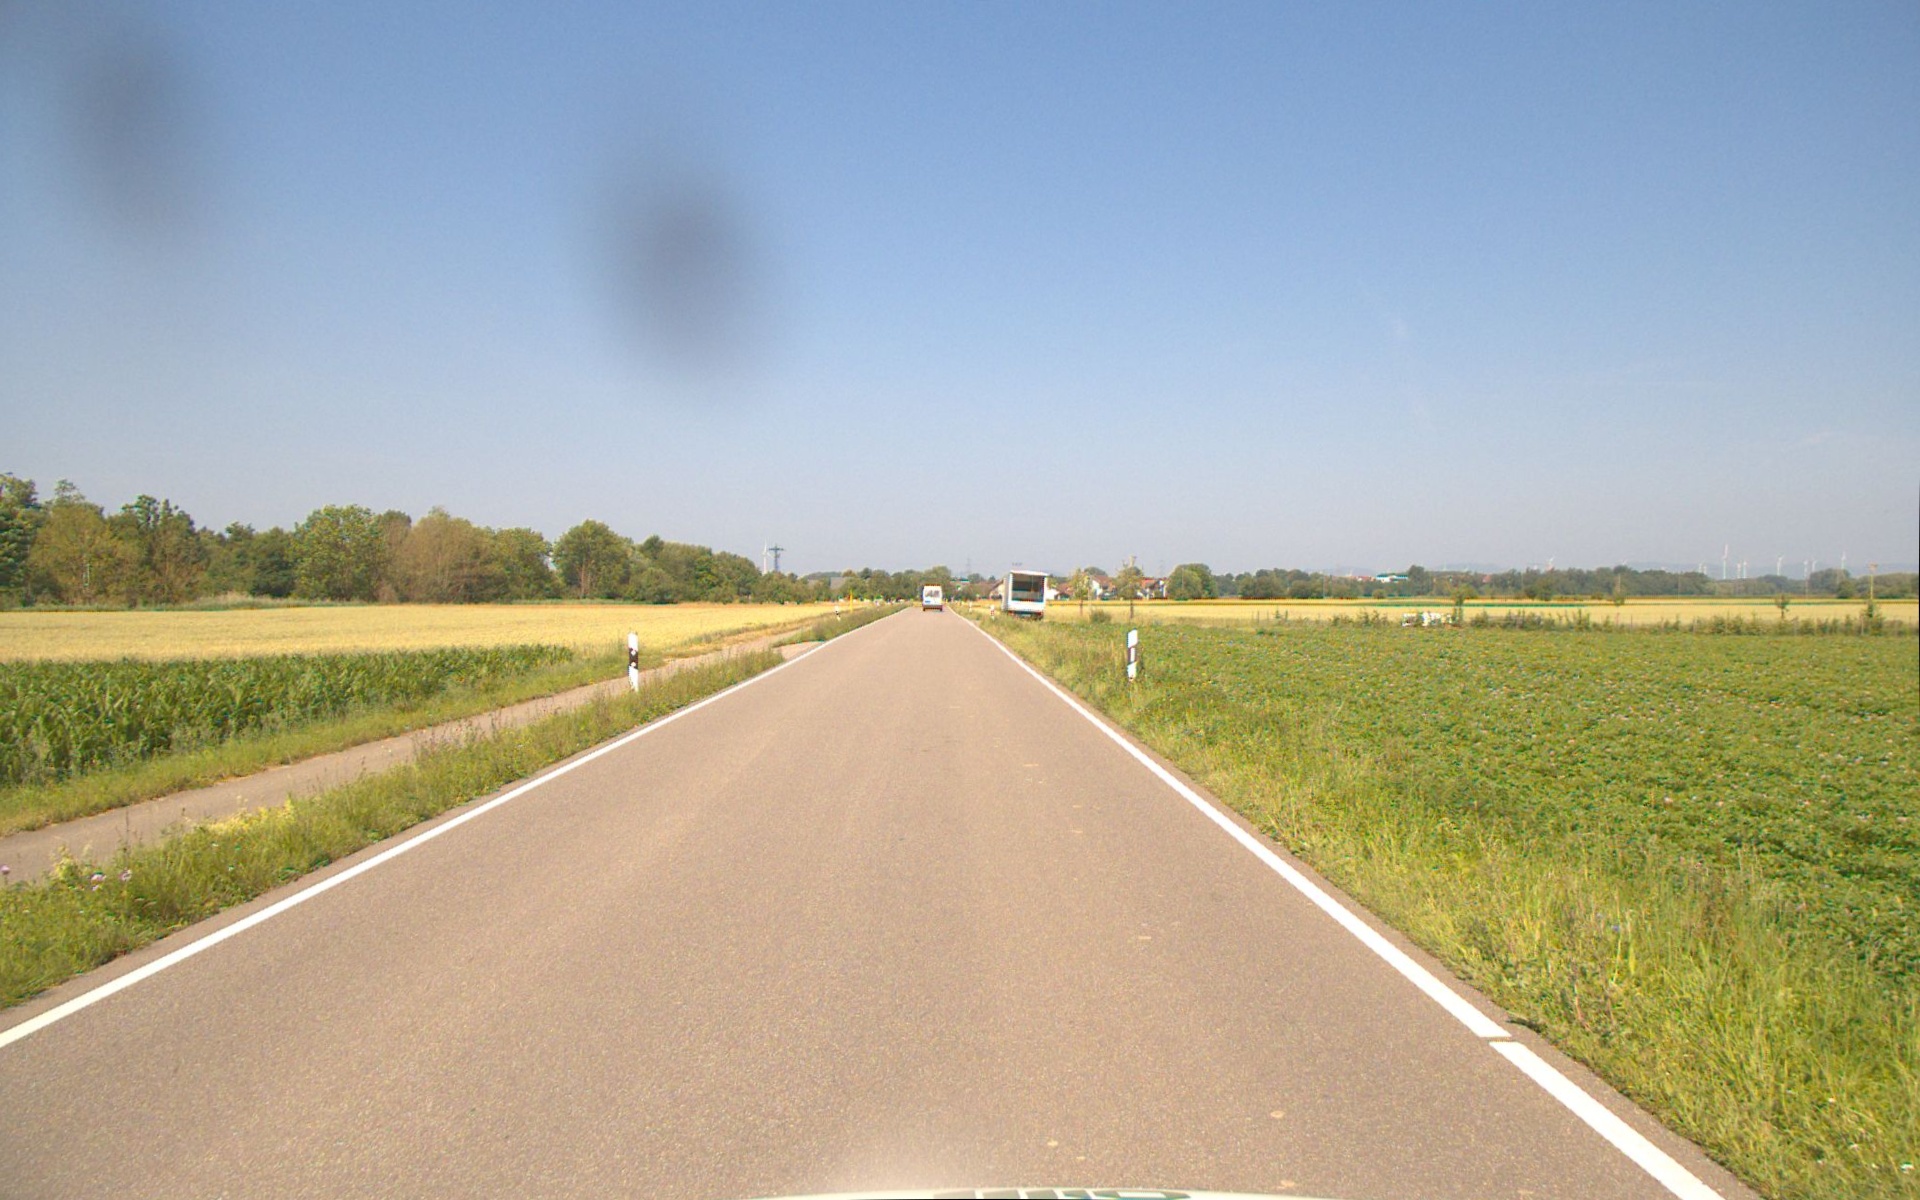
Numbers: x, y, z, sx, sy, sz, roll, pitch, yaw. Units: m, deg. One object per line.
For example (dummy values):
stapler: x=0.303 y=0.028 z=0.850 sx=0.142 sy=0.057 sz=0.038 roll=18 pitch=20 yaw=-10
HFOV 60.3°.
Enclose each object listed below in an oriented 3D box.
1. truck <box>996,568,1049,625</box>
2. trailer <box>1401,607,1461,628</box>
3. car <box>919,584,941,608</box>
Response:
truck: x=3.517 y=-0.163 z=94.207 sx=2.289 sy=2.993 sz=7.004 roll=3 pitch=0 yaw=-3
trailer: x=29.959 y=1.139 z=105.208 sx=3.509 sy=1.210 sz=1.665 roll=2 pitch=0 yaw=11
car: x=-2.997 y=-0.420 z=166.173 sx=2.064 sy=2.344 sz=5.494 roll=2 pitch=0 yaw=-1
